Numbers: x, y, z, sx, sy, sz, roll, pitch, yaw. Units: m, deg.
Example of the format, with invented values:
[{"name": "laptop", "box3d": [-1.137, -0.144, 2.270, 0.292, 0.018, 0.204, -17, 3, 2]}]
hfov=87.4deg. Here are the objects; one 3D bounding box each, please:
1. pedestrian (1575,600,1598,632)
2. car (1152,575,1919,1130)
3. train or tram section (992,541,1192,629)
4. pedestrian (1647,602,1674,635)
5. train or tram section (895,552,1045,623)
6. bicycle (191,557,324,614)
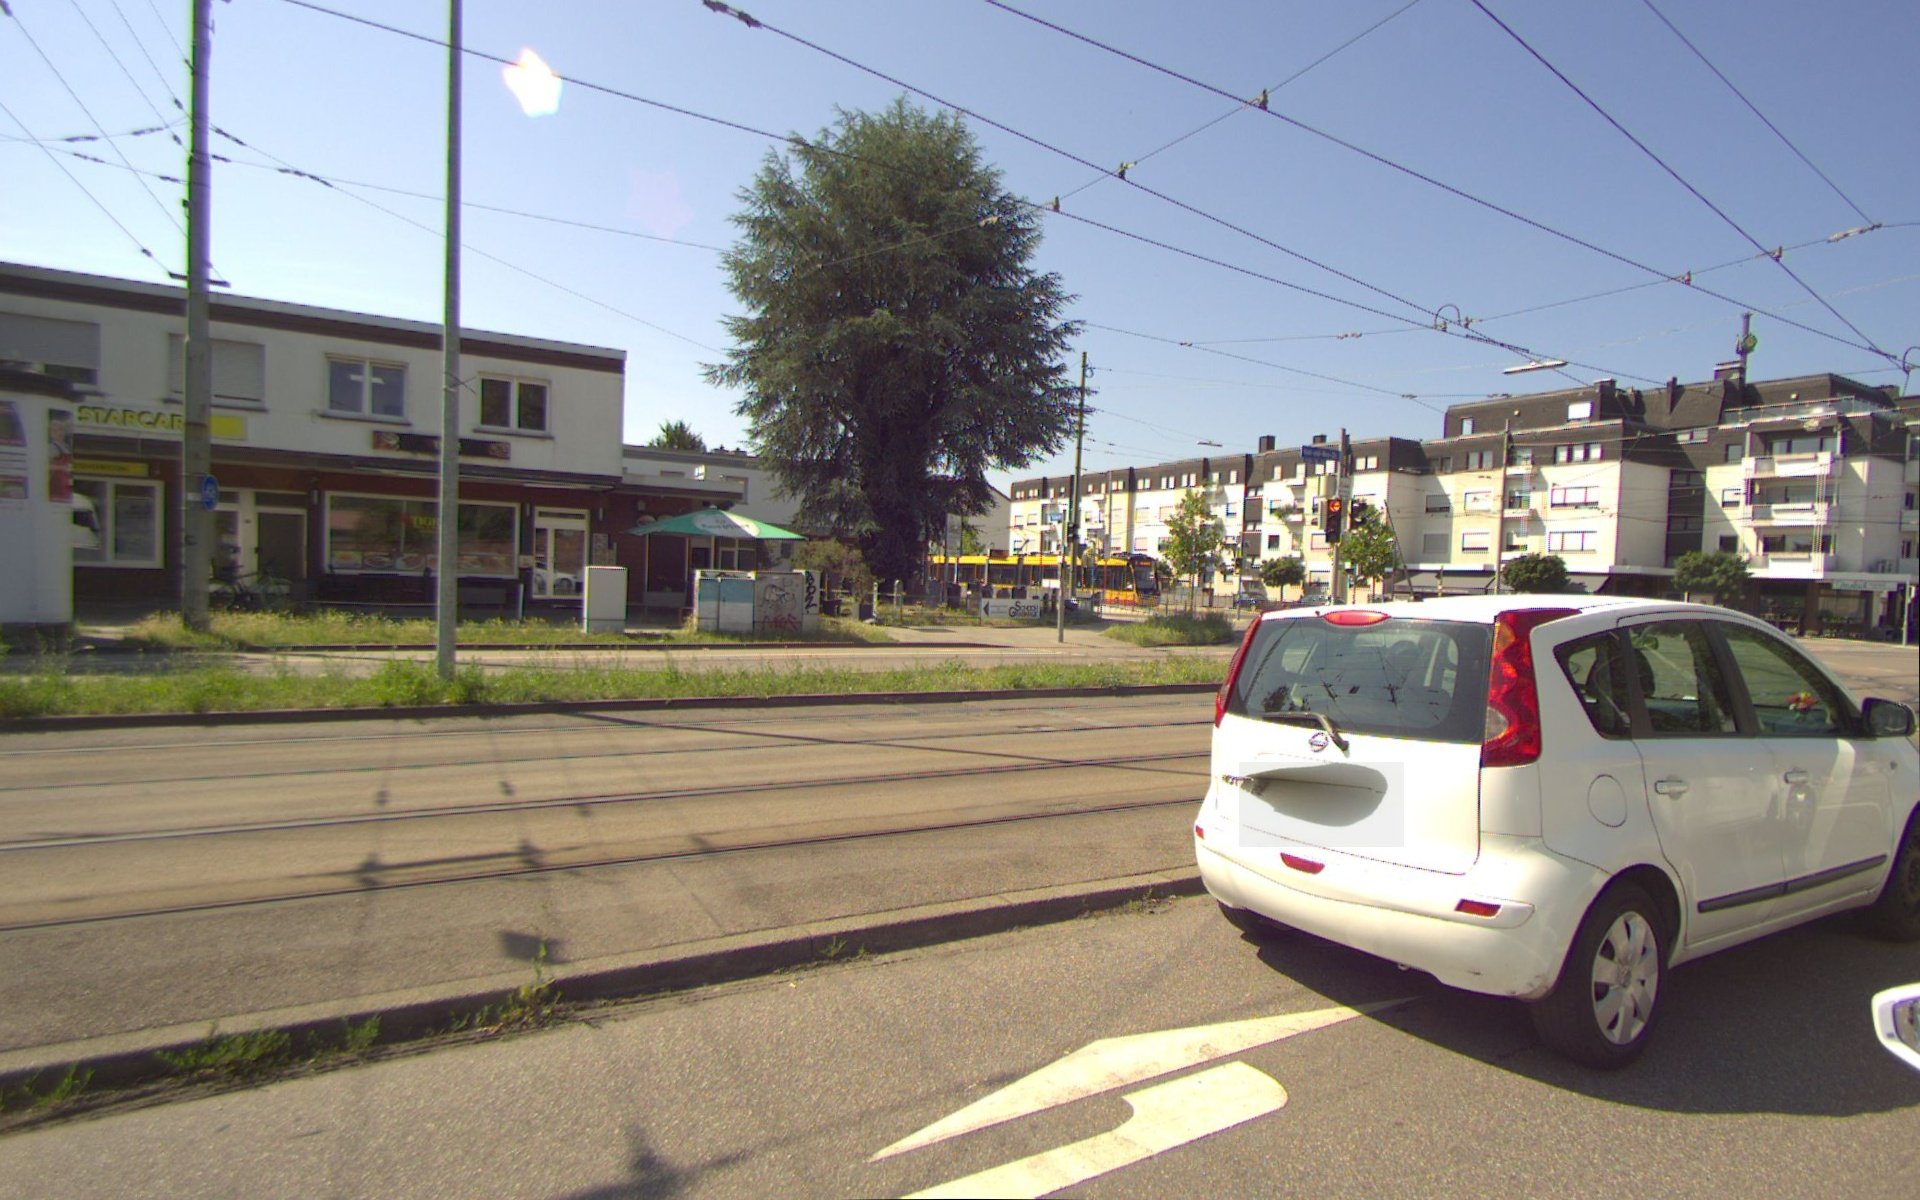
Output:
[{"name": "pedestrian", "box3d": [35.215, 0.886, 56.453, 0.956, 1.766, 0.864, 2, -1, 26]}, {"name": "car", "box3d": [2.844, 0.732, 4.542, 3.759, 1.587, 1.634, 0, 0, -31]}, {"name": "train or tram section", "box3d": [8.530, -0.893, 69.386, 4.681, 5.217, 16.121, 2, -1, -30]}, {"name": "pedestrian", "box3d": [38.922, 1.029, 55.833, 0.955, 1.766, 0.865, 2, -1, 15]}, {"name": "train or tram section", "box3d": [0.374, -0.924, 83.287, 4.681, 5.217, 16.121, 2, -1, -30]}, {"name": "bicycle", "box3d": [-15.515, -0.291, 22.269, 2.306, 1.167, 0.783, 2, -1, -30]}]
